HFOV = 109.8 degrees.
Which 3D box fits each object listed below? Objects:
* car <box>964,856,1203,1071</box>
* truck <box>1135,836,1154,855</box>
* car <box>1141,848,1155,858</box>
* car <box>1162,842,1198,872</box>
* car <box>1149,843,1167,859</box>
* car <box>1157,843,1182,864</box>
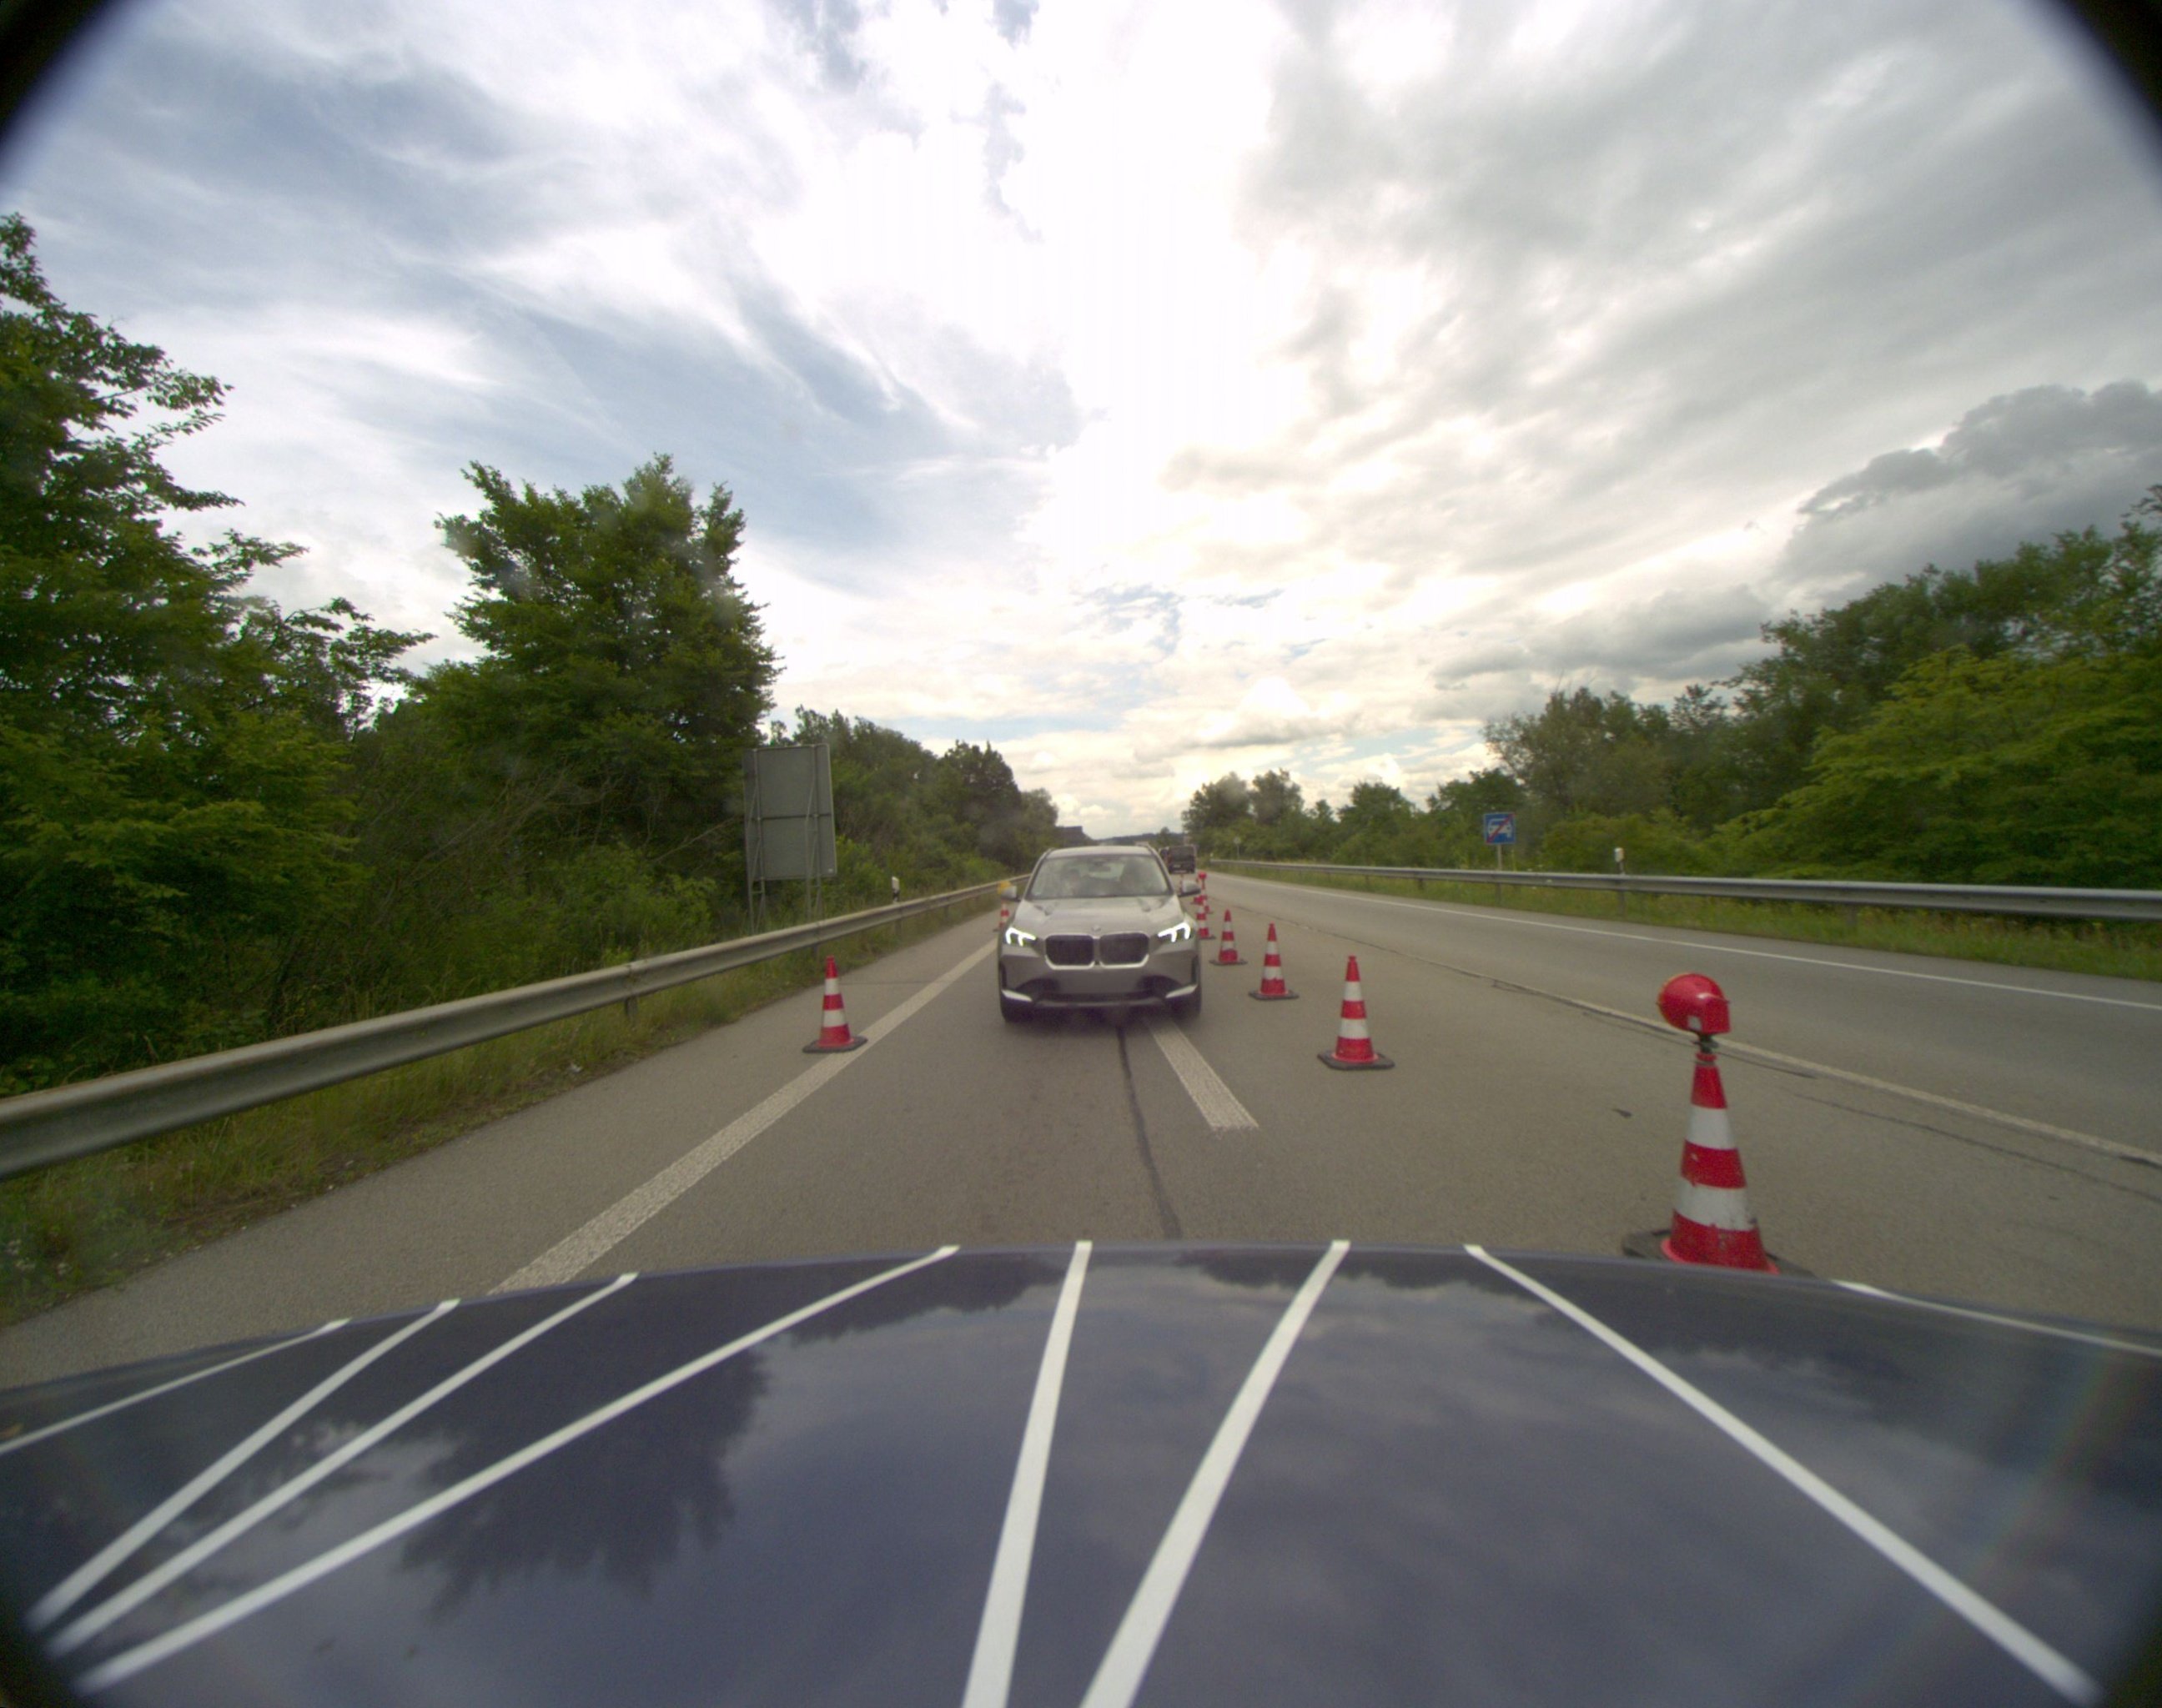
[{"bbox_3d":[0.126,0.867,8.156,1.817,1.598,4.434,-2,0,3],"label":"car"},{"bbox_3d":[12.515,-1.650,150.025,3.113,3.682,9.544,-2,0,2],"label":"truck"},{"bbox_3d":[10.913,-0.167,123.862,1.929,1.597,4.533,-2,0,3],"label":"car"},{"bbox_3d":[7.003,0.222,54.397,2.034,1.976,5.316,-2,0,2],"label":"car"},{"bbox_3d":[9.578,-0.397,94.513,1.929,1.820,4.533,-2,0,3],"label":"car"},{"bbox_3d":[8.140,-0.064,70.261,1.971,1.873,4.533,-2,0,3],"label":"car"}]
